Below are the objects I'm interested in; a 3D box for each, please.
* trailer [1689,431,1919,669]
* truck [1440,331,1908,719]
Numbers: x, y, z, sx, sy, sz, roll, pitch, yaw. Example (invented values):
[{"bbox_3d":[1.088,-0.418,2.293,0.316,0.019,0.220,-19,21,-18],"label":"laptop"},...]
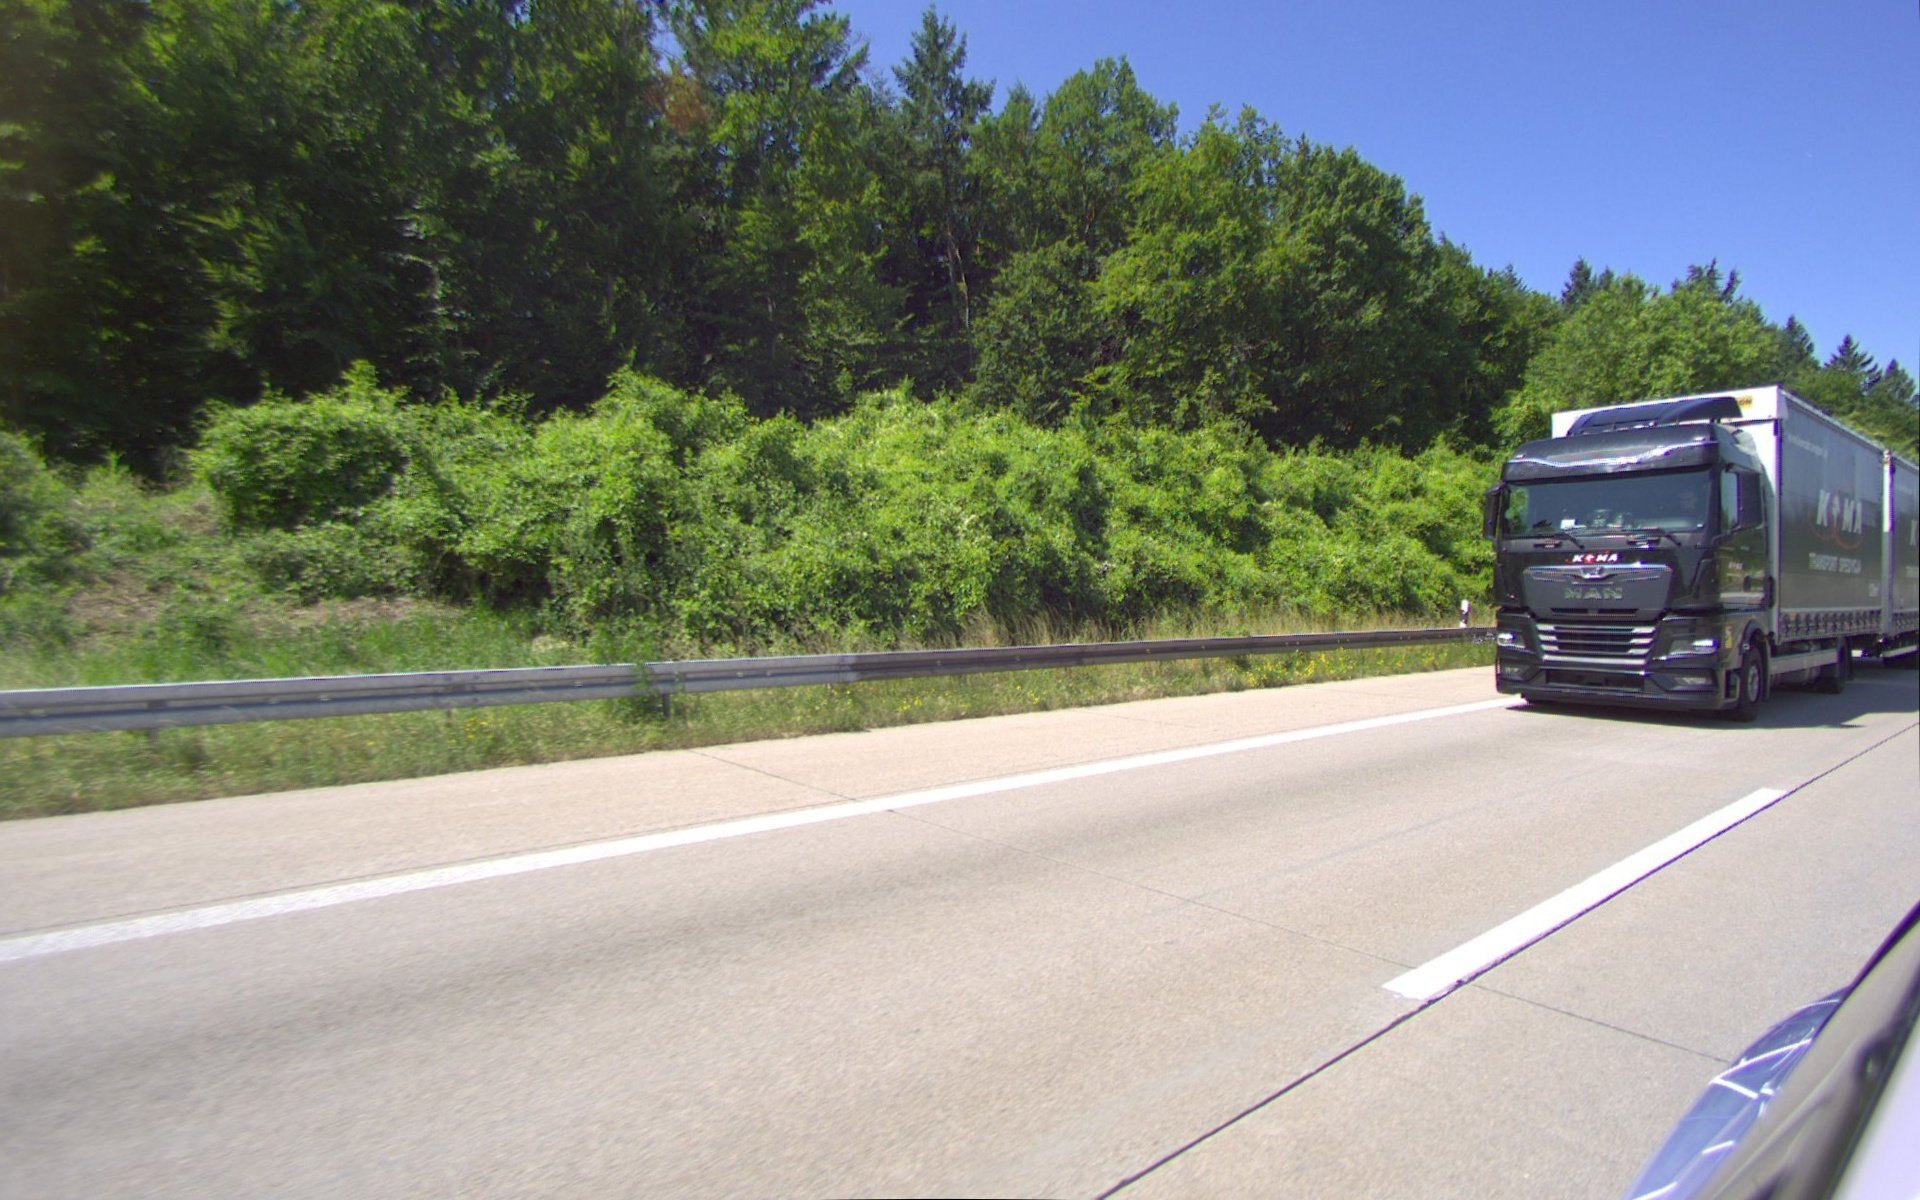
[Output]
[{"bbox_3d":[18.681,-0.890,21.395,8.925,4.068,3.141,0,0,-39],"label":"trailer"},{"bbox_3d":[11.210,-0.821,15.193,10.418,4.068,3.166,0,0,-40],"label":"truck"}]
